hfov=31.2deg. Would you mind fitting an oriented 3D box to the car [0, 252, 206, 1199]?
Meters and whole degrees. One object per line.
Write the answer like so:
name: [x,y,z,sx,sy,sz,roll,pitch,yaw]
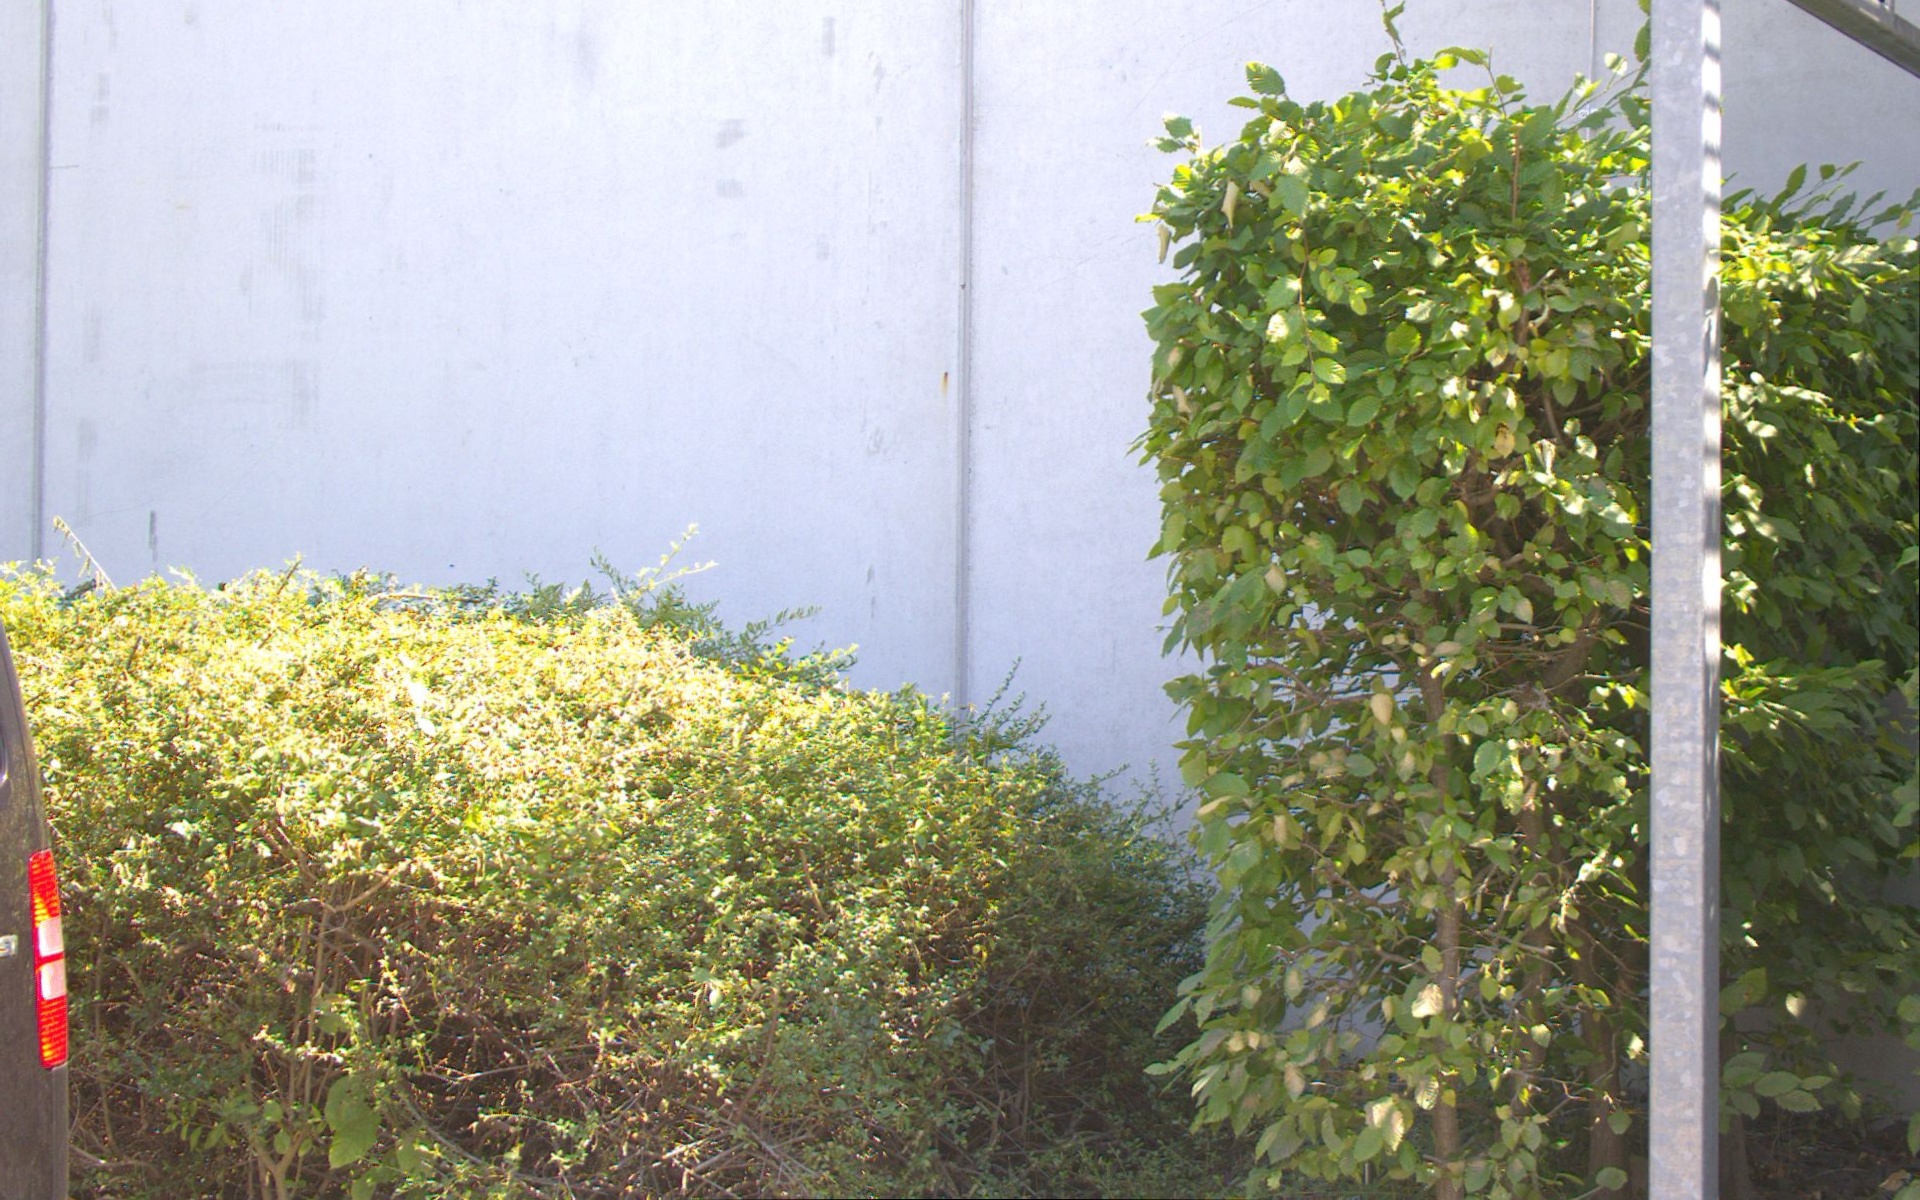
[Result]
car: [-3.218,0.477,5.046,4.065,1.877,1.676,1,1,30]
